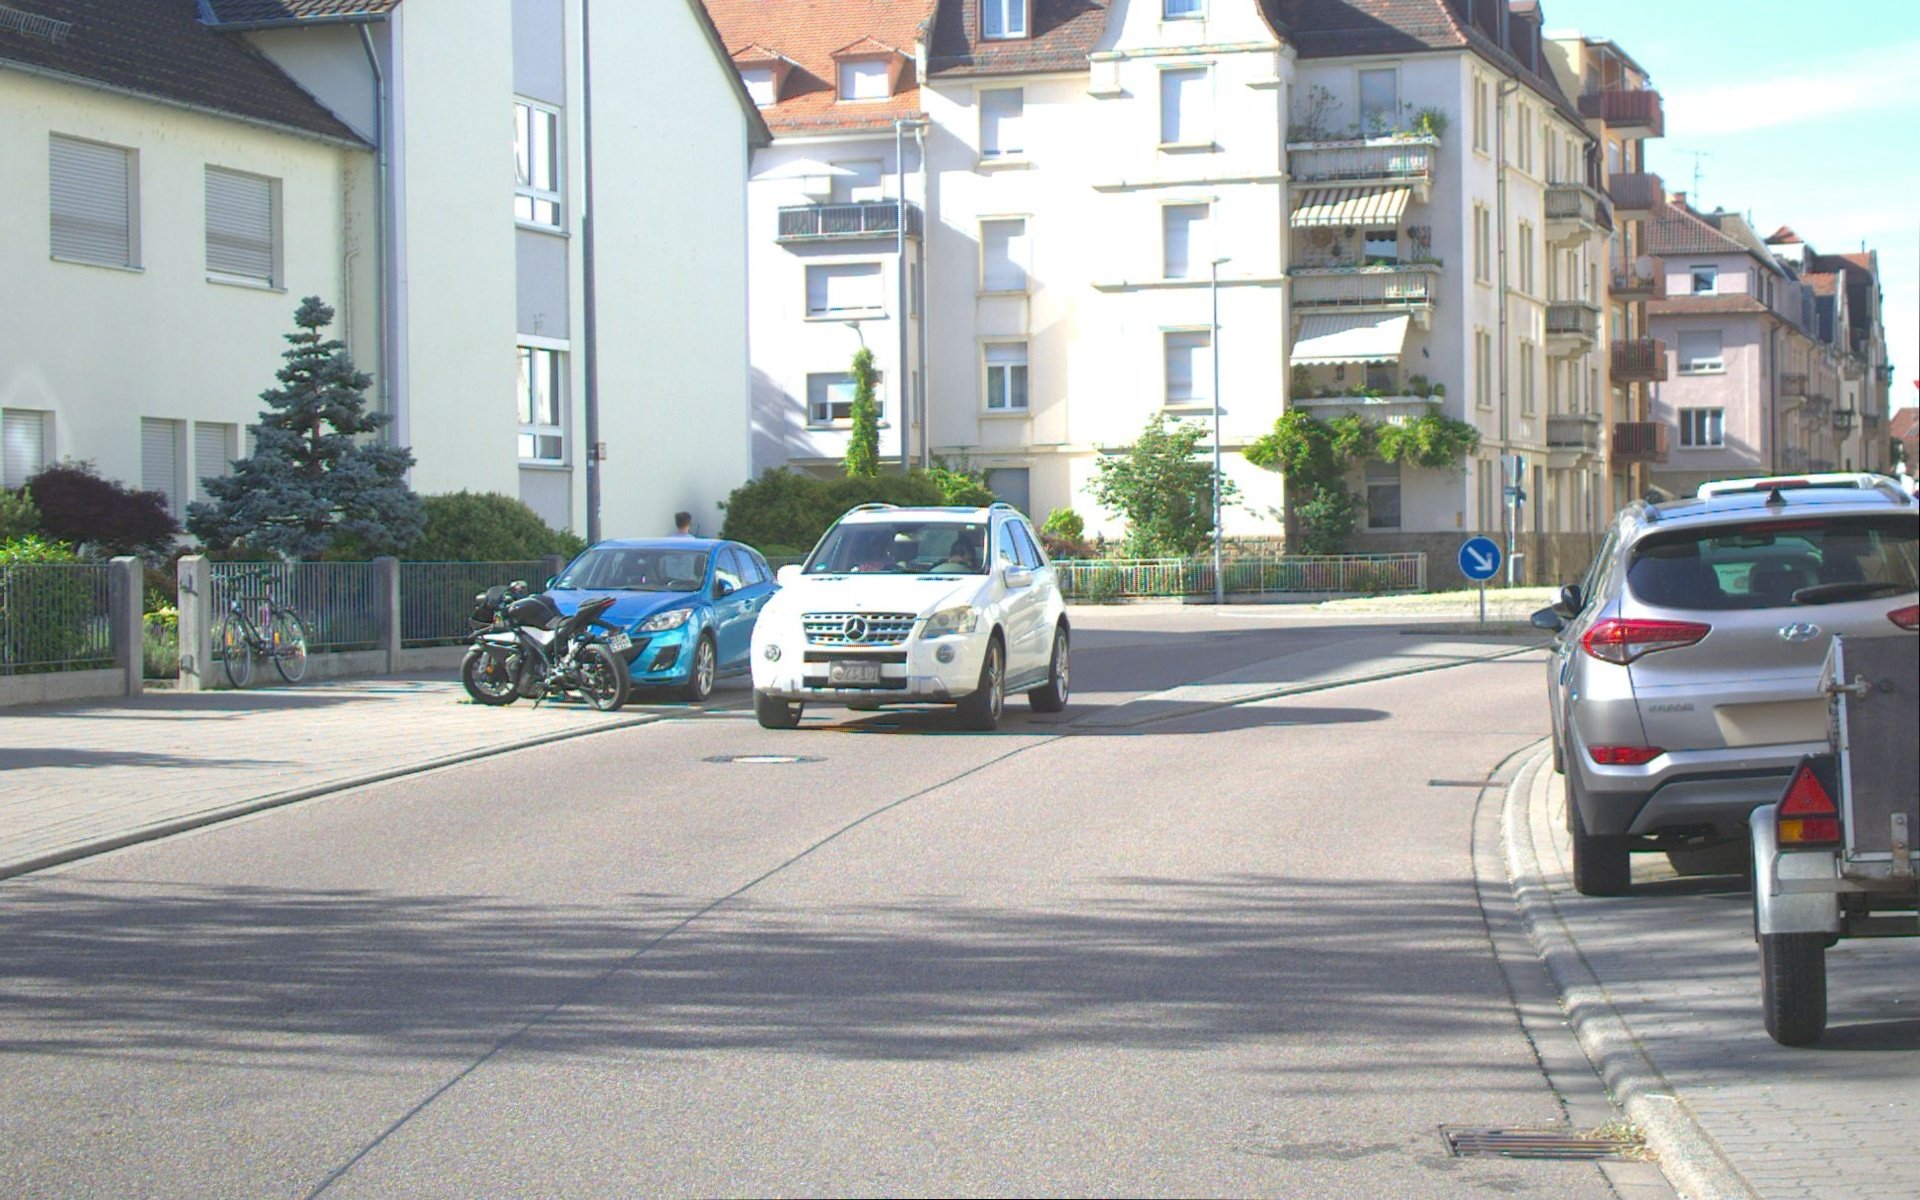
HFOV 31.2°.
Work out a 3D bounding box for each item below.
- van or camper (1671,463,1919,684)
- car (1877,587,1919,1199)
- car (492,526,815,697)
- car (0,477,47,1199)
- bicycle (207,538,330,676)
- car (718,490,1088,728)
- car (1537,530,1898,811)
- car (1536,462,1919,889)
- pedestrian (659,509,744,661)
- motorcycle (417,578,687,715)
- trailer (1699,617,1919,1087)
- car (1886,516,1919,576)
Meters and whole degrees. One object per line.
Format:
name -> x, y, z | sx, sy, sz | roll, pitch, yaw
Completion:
van or camper -> 8.407, -0.289, 33.689 | 2.022, 1.940, 4.698 | -3, 0, 21
car -> 2.539, 0.704, 4.184 | 1.971, 1.445, 5.002 | 0, 0, 6
car -> -2.778, 0.050, 32.150 | 1.798, 1.468, 4.328 | 1, 1, 12
car -> -2.960, 0.571, 5.201 | 1.919, 1.719, 4.336 | 0, -1, 1
bicycle -> -6.495, 0.085, 32.365 | 0.456, 1.246, 1.927 | -1, -1, 10
car -> -0.362, 0.027, 28.319 | 1.991, 1.779, 4.517 | -1, 1, 13
car -> 4.355, 0.335, 20.297 | 1.718, 1.404, 4.313 | -3, 1, 8
car -> 3.593, 0.347, 15.592 | 1.818, 1.648, 4.558 | -1, -1, 8
pedestrian -> -2.947, -0.162, 39.219 | 0.683, 1.698, 0.823 | -1, -2, 20
motorcycle -> -3.471, 0.376, 29.227 | 2.060, 1.015, 0.946 | 3, 3, 24
trailer -> 3.076, 0.654, 10.257 | 1.603, 1.174, 2.941 | -1, 0, 10
car -> 30.086, -1.684, 106.222 | 2.434, 1.805, 4.719 | 0, 1, 20
